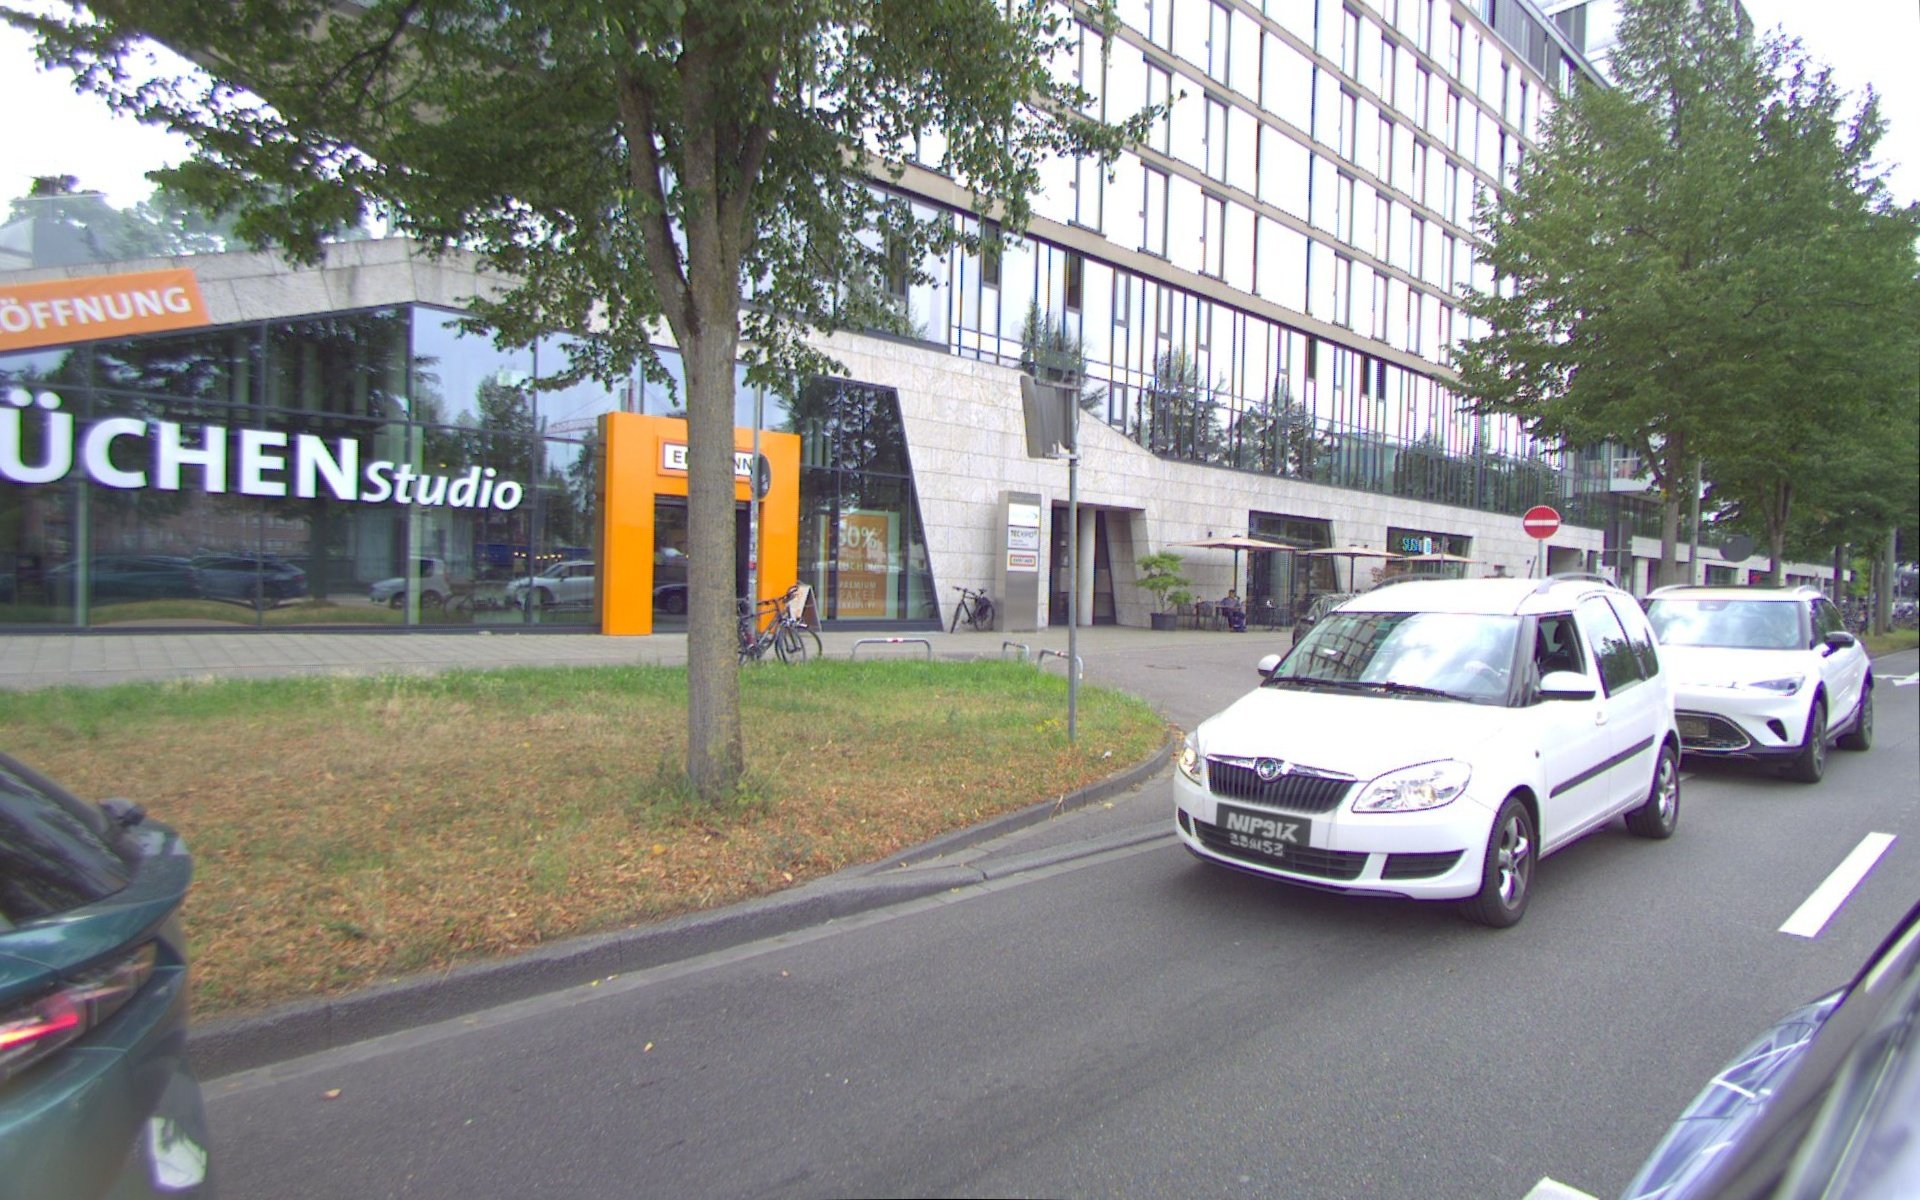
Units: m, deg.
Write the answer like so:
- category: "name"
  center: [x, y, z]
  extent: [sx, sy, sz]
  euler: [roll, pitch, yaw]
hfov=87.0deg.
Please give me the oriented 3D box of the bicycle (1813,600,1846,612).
- category: "bicycle"
  center: [86.373, 0.586, 100.522]
  extent: [2.417, 1.191, 1.185]
  euler: [2, 1, 42]

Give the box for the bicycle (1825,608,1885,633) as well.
- category: "bicycle"
  center: [40.086, 0.917, 45.322]
  extent: [0.693, 1.079, 1.931]
  euler: [1, -2, -43]

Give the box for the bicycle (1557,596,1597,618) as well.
- category: "bicycle"
  center: [30.863, 0.354, 50.638]
  extent: [1.584, 1.039, 0.606]
  euler: [3, 2, 23]

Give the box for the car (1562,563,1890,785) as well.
- category: "car"
  center: [7.420, 0.570, 9.667]
  extent: [3.954, 1.677, 1.781]
  euler: [1, 0, -42]

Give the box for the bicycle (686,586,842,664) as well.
- category: "bicycle"
  center: [-2.623, 0.313, 13.757]
  extent: [0.630, 0.968, 2.074]
  euler: [2, 1, 44]

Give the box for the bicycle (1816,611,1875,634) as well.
- category: "bicycle"
  center: [38.444, 0.979, 43.942]
  extent: [0.493, 0.963, 1.862]
  euler: [1, -2, -43]

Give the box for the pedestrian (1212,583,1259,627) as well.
- category: "pedestrian"
  center: [7.999, 0.148, 29.365]
  extent: [0.932, 1.243, 0.900]
  euler: [1, 1, -36]

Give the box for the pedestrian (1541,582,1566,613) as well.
- category: "pedestrian"
  center: [28.109, -0.115, 47.943]
  extent: [0.707, 1.424, 0.759]
  euler: [1, 1, -33]

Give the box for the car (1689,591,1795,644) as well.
- category: "car"
  center: [25.653, 0.542, 33.157]
  extent: [4.514, 1.571, 1.941]
  euler: [1, 1, -42]

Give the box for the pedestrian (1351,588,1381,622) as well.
- category: "pedestrian"
  center: [14.687, 0.168, 36.595]
  extent: [0.745, 1.207, 0.720]
  euler: [1, 1, -39]

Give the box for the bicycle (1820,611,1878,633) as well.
- category: "bicycle"
  center: [39.001, 0.976, 44.423]
  extent: [0.642, 0.963, 1.862]
  euler: [1, -2, -43]

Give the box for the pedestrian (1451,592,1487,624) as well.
- category: "pedestrian"
  center: [20.389, 0.322, 40.556]
  extent: [1.083, 1.207, 0.776]
  euler: [1, 1, -26]

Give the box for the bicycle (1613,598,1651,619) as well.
- category: "bicycle"
  center: [36.420, 0.448, 54.857]
  extent: [0.524, 1.039, 1.599]
  euler: [1, 2, -43]

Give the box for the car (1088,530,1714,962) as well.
- category: "car"
  center: [2.755, 0.545, 5.894]
  extent: [3.952, 1.677, 1.782]
  euler: [0, 1, -41]

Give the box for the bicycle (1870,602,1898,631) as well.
- category: "bicycle"
  center: [36.967, 0.653, 40.503]
  extent: [0.709, 1.130, 2.170]
  euler: [-2, -2, 41]

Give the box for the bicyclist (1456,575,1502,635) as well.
- category: "bicyclist"
  center: [14.548, 0.134, 28.365]
  extent: [0.972, 1.601, 0.726]
  euler: [0, 3, -39]

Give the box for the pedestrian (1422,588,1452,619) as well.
- category: "pedestrian"
  center: [18.864, 0.137, 40.014]
  extent: [0.743, 1.207, 0.723]
  euler: [1, 1, -19]

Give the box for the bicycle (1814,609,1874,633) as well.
- category: "bicycle"
  center: [37.969, 0.910, 43.491]
  extent: [0.564, 1.008, 1.862]
  euler: [1, -2, -43]

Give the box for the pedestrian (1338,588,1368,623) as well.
- category: "pedestrian"
  center: [13.960, 0.203, 35.969]
  extent: [0.746, 1.207, 0.720]
  euler: [1, 1, -42]

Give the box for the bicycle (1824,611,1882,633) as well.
- category: "bicycle"
  center: [39.569, 0.972, 44.880]
  extent: [0.602, 0.963, 1.862]
  euler: [1, -2, -43]

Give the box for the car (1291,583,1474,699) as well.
- category: "car"
  center: [6.499, 0.506, 16.127]
  extent: [1.919, 1.494, 4.850]
  euler: [2, 1, 14]

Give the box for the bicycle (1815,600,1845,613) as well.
- category: "bicycle"
  center: [85.603, 0.593, 99.568]
  extent: [2.231, 1.191, 0.961]
  euler: [2, 1, 42]

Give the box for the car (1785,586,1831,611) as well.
- category: "car"
  center: [61.458, -0.098, 73.306]
  extent: [4.166, 1.607, 1.862]
  euler: [0, 4, -41]

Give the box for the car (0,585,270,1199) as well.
- category: "car"
  center: [-3.046, 0.691, 0.500]
  extent: [4.239, 1.450, 1.789]
  euler: [1, 0, -44]

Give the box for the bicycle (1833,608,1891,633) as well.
- category: "bicycle"
  center: [41.203, 0.942, 46.269]
  extent: [1.927, 1.079, 0.536]
  euler: [-2, -2, 41]

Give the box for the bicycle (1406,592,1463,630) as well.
- category: "bicycle"
  center: [13.783, 0.304, 29.369]
  extent: [1.971, 1.055, 0.675]
  euler: [1, 1, -39]

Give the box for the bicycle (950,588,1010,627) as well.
- category: "bicycle"
  center: [0.496, 0.176, 24.800]
  extent: [1.467, 0.921, 0.519]
  euler: [0, 1, -41]

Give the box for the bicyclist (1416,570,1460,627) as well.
- category: "bicyclist"
  center: [13.896, -0.053, 29.425]
  extent: [0.971, 1.601, 0.727]
  euler: [0, 3, -38]

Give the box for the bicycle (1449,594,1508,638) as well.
- category: "bicycle"
  center: [14.558, 0.451, 28.402]
  extent: [1.970, 1.157, 0.675]
  euler: [1, 1, -39]
